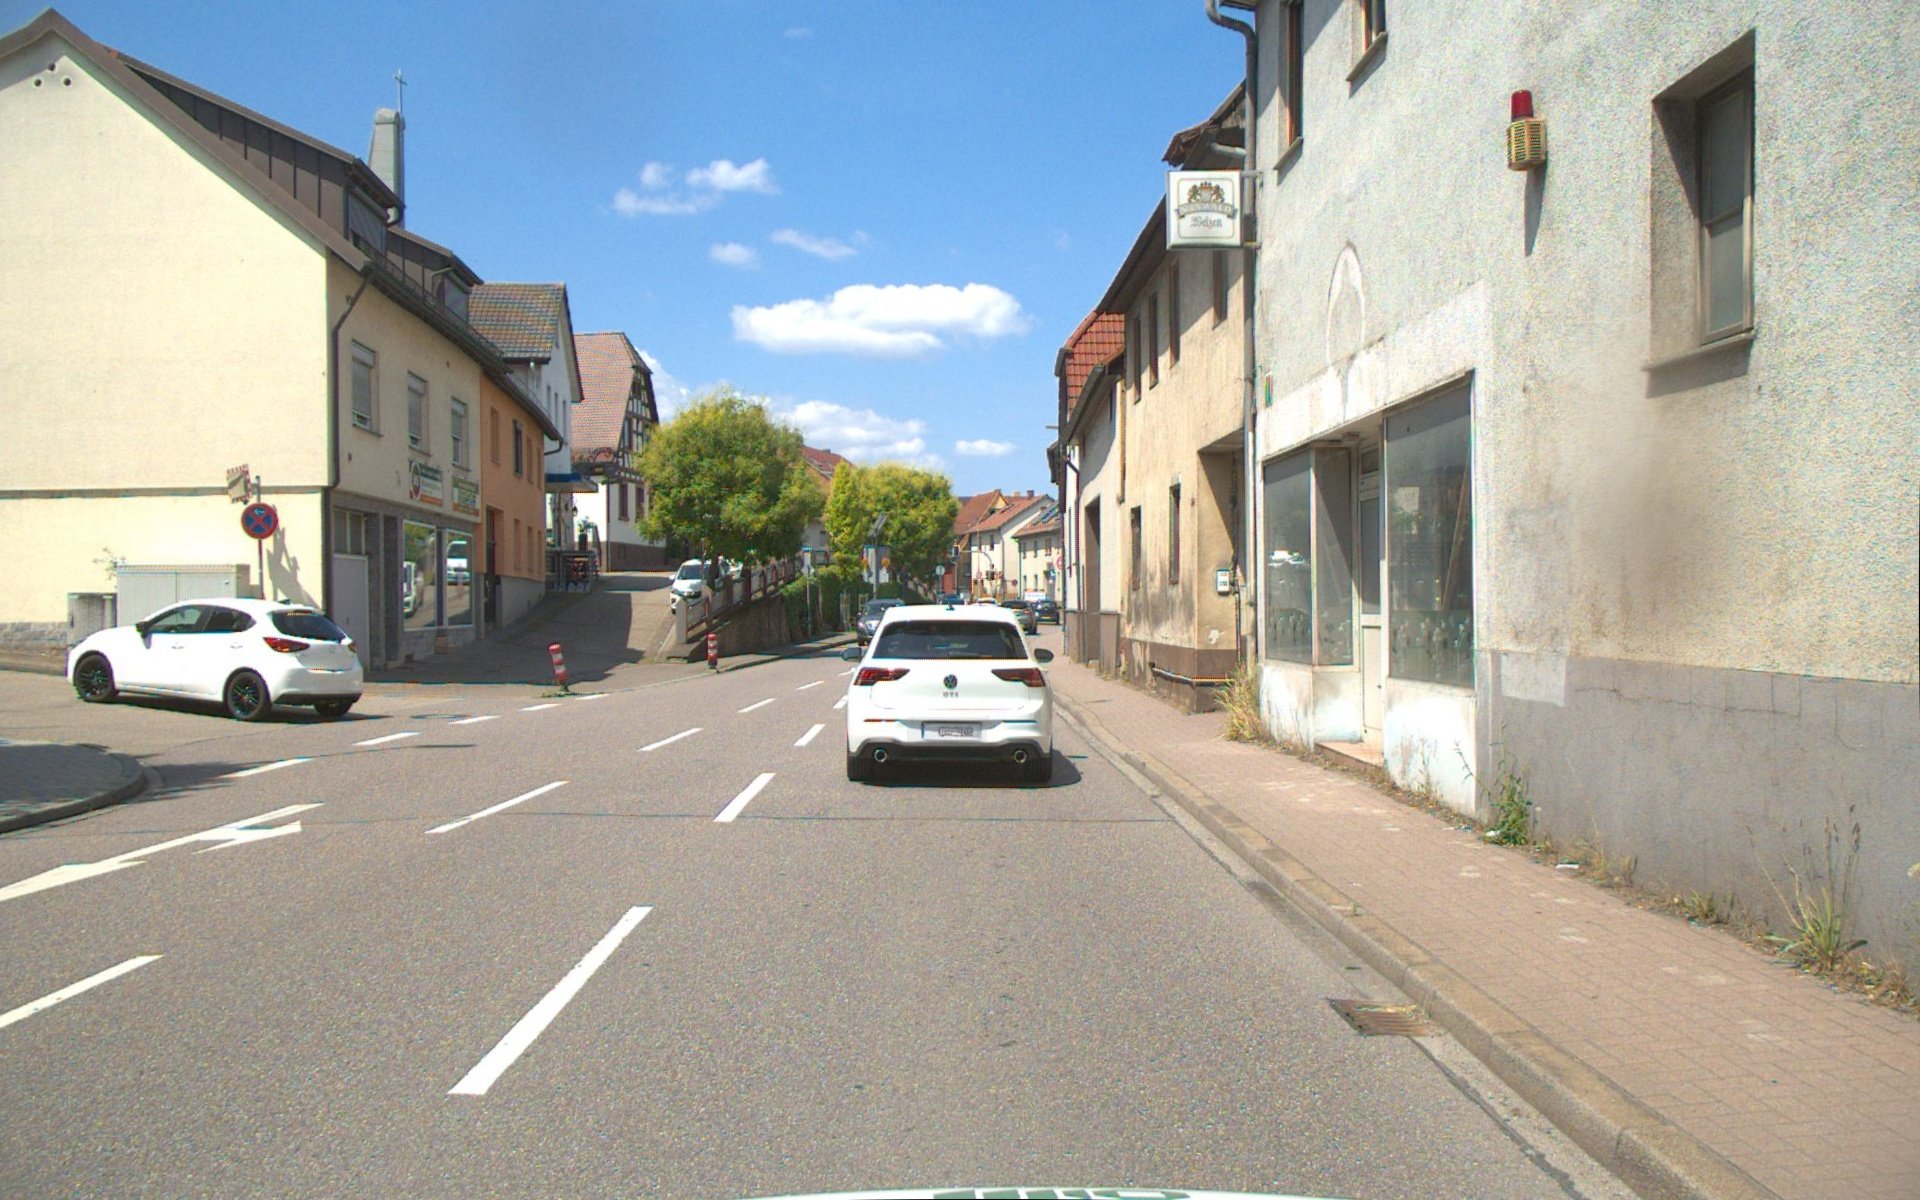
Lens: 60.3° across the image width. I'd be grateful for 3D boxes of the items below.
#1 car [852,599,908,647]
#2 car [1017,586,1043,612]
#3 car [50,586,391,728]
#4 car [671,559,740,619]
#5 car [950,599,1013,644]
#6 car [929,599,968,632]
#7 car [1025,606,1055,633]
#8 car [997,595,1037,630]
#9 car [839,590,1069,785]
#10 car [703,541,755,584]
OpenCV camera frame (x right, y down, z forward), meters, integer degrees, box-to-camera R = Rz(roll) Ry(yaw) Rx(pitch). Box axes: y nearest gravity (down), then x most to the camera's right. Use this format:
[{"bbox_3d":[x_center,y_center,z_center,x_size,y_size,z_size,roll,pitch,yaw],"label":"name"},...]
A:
[{"bbox_3d":[-2.939,0.826,61.537,1.721,1.664,4.050,-1,0,2],"label":"car"},{"bbox_3d":[4.937,-0.093,115.833,1.738,1.796,4.002,0,0,3],"label":"car"},{"bbox_3d":[-9.722,0.699,21.768,3.906,1.493,1.814,4,1,21],"label":"car"},{"bbox_3d":[-8.045,-0.384,52.545,1.659,1.569,3.857,0,6,-1],"label":"car"},{"bbox_3d":[0.776,0.750,57.968,1.769,1.493,4.003,1,0,7],"label":"car"},{"bbox_3d":[-0.570,0.793,85.631,1.804,1.608,4.446,-1,0,2],"label":"car"},{"bbox_3d":[4.838,1.173,100.405,1.738,1.565,4.001,0,0,2],"label":"car"},{"bbox_3d":[2.618,0.571,76.451,1.739,1.565,4.000,0,0,1],"label":"car"},{"bbox_3d":[-0.016,0.697,14.969,1.770,1.493,4.000,1,0,1],"label":"car"},{"bbox_3d":[-9.012,-1.511,64.776,1.544,1.385,3.857,0,6,-1],"label":"car"}]
